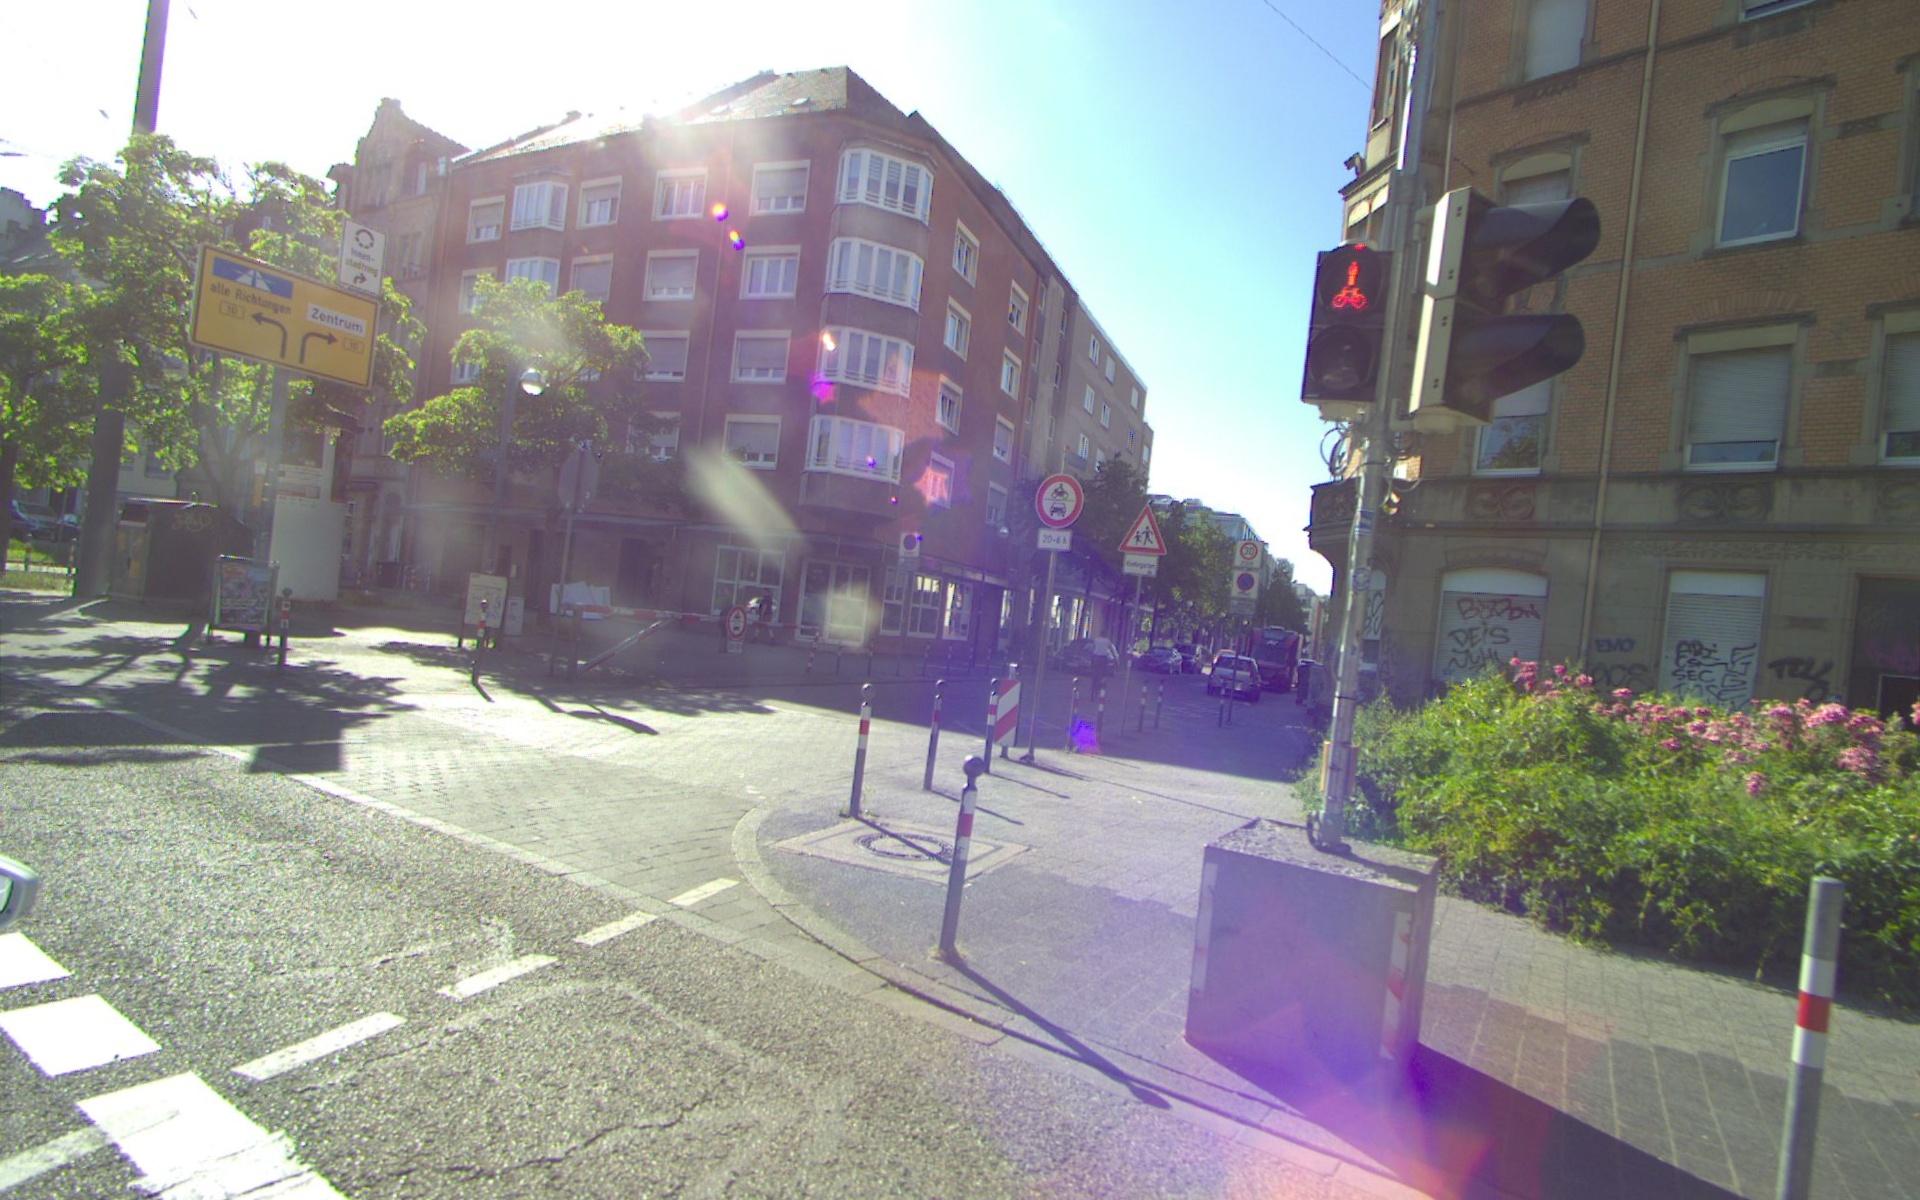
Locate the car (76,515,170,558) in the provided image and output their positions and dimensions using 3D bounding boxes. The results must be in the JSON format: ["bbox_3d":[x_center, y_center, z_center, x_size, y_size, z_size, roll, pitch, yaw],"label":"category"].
[{"bbox_3d":[-37.704,-2.874,45.309,4.219,1.438,1.731,7,0,28],"label":"car"}]

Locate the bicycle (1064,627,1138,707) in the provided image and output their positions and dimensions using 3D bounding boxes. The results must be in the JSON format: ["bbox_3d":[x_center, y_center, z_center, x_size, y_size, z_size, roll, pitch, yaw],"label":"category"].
[{"bbox_3d":[3.383,1.594,23.902,0.992,1.701,2.139,6,-1,25],"label":"bicycle"}]

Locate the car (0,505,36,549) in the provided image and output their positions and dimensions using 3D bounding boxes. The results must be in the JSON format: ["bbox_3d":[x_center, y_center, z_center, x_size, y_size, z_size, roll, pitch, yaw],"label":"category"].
[{"bbox_3d":[-34.298,-2.642,33.892,1.984,1.453,4.874,6,1,-5],"label":"car"}]

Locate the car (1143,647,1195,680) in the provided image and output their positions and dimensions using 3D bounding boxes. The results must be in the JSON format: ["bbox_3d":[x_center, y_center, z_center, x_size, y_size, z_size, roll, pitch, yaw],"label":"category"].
[{"bbox_3d":[11.678,3.541,56.056,1.963,1.571,3.999,7,-1,22],"label":"car"}]

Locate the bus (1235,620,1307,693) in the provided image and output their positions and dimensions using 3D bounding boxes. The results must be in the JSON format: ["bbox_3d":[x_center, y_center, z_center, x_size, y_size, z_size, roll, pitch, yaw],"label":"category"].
[{"bbox_3d":[15.337,2.806,49.393,2.379,3.104,6.264,6,-1,24],"label":"bus"}]

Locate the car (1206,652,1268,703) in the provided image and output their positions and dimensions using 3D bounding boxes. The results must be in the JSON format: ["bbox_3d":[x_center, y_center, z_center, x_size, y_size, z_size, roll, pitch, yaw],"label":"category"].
[{"bbox_3d":[10.121,2.789,36.634,1.605,1.563,4.000,6,-1,22],"label":"car"}]

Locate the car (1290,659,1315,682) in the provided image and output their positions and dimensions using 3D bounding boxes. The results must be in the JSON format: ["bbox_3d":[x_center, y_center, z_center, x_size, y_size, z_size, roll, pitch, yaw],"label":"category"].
[{"bbox_3d":[26.655,5.449,78.163,1.605,1.563,4.001,6,-1,20],"label":"car"}]

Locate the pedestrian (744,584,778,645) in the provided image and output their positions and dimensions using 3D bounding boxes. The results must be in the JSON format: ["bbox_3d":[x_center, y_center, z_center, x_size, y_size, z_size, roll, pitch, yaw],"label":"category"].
[{"bbox_3d":[-6.140,0.454,31.040,0.631,1.781,0.592,6,0,29],"label":"pedestrian"}]

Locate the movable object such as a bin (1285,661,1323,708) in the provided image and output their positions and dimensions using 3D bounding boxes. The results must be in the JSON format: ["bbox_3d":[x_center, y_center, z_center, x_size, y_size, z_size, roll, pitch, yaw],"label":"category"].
[{"bbox_3d":[11.988,2.934,35.019,1.016,1.462,1.217,6,0,24],"label":"movable object such as a bin"}]

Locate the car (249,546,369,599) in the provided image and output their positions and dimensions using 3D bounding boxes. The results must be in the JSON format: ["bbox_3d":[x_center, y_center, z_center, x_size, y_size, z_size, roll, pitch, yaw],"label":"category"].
[{"bbox_3d":[-24.739,-1.049,38.205,4.415,1.492,1.996,6,0,31],"label":"car"}]

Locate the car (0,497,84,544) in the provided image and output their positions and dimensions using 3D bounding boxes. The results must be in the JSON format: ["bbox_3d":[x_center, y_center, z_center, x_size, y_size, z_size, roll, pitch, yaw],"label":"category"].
[{"bbox_3d":[-46.165,-3.991,50.302,4.545,1.823,1.996,7,1,28],"label":"car"}]

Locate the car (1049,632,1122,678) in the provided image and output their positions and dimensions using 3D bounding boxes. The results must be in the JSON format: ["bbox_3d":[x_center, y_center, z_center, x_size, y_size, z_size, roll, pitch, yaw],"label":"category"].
[{"bbox_3d":[5.157,2.247,40.983,1.817,1.593,3.999,7,-1,22],"label":"car"}]

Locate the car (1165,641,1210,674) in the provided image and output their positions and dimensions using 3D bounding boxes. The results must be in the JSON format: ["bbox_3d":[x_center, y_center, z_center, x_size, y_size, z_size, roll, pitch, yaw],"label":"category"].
[{"bbox_3d":[14.551,3.694,64.204,1.963,1.815,3.999,7,-1,22],"label":"car"}]

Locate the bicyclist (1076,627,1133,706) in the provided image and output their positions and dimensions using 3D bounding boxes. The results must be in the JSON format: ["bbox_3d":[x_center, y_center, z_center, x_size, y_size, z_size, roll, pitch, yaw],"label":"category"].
[{"bbox_3d":[3.459,1.584,24.031,0.903,1.746,1.050,6,0,25],"label":"bicyclist"}]
